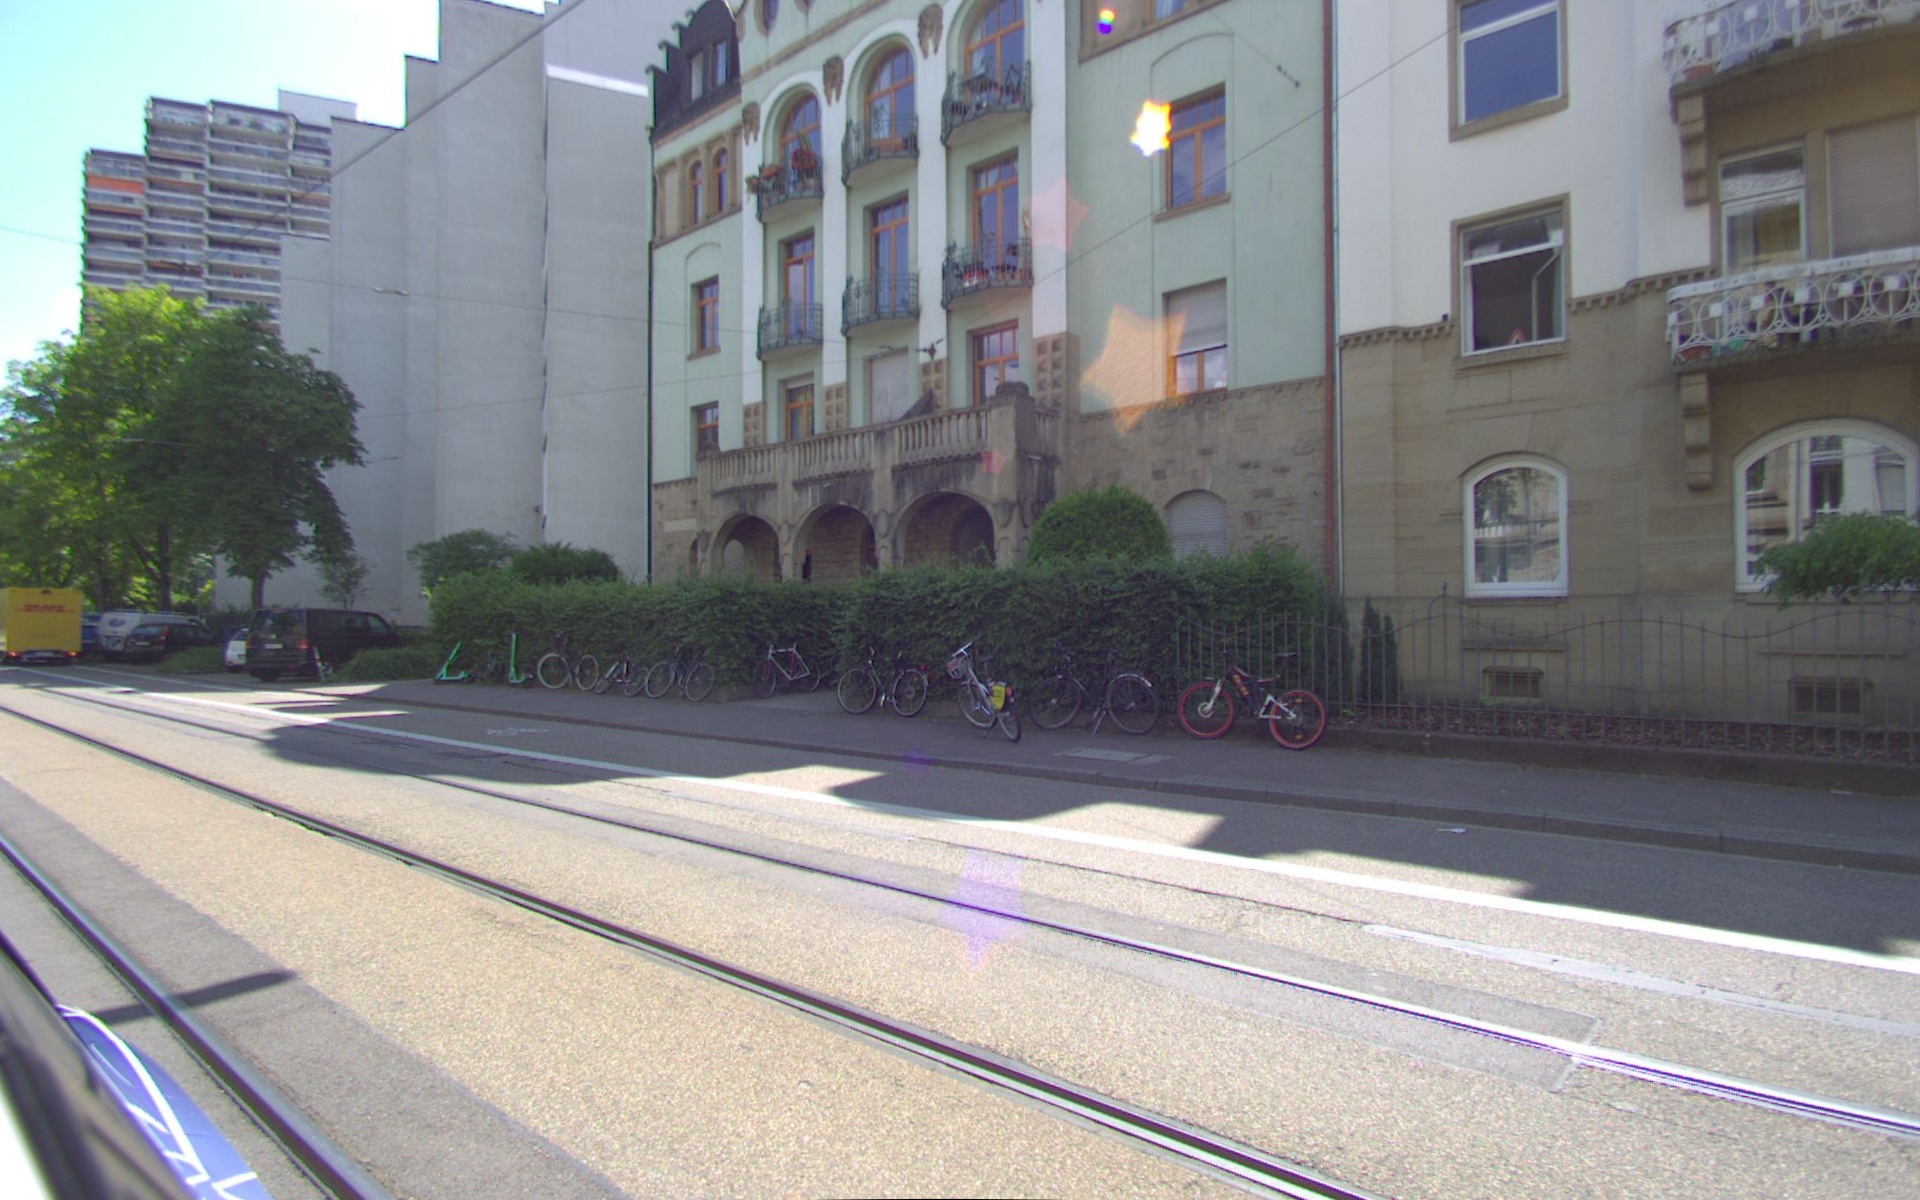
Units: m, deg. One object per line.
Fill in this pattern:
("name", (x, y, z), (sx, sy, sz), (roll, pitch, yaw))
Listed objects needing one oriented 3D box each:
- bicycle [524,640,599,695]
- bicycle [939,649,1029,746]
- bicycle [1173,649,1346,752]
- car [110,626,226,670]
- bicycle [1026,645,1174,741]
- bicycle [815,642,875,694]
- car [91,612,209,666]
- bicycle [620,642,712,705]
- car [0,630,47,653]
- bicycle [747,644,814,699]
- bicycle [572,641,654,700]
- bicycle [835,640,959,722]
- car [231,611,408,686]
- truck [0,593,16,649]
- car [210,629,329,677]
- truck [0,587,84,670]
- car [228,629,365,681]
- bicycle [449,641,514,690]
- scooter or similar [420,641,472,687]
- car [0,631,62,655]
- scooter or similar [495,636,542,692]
("bicycle", (-7.958, 1.332, 20.181), (1.706, 0.996, 0.601), (-2, 2, 40))
("bicycle", (0.248, 1.104, 11.936), (0.599, 1.007, 1.779), (0, -2, -14))
("bicycle", (3.153, 1.030, 10.767), (1.724, 0.973, 0.409), (-2, 1, 40))
("car", (-30.271, 1.786, 38.825), (1.658, 1.587, 3.686), (0, -1, -3))
("bicycle", (1.616, 1.059, 11.852), (1.706, 1.006, 0.459), (-2, 1, 40))
("bicycle", (-2.133, 1.247, 18.867), (0.339, 0.915, 1.192), (-2, -2, 42))
("car", (-32.846, 1.560, 41.176), (1.580, 2.058, 4.053), (0, -1, 0))
("bicycle", (-5.123, 1.256, 17.592), (1.770, 0.983, 0.601), (-2, 2, 40))
("car", (-60.523, 2.629, 64.470), (1.657, 1.465, 3.680), (0, -1, -6))
("bicycle", (-3.120, 1.230, 17.652), (0.339, 0.915, 1.192), (-2, -2, 42))
("bicycle", (-6.481, 1.297, 18.869), (1.706, 0.996, 0.601), (-2, 2, 40))
("bicycle", (-0.902, 1.110, 14.258), (1.770, 1.040, 0.601), (-2, 2, 40))
("car", (-17.783, 1.307, 28.414), (1.936, 1.940, 4.582), (0, -1, 3))
("truck", (-74.723, 1.641, 77.214), (2.633, 4.212, 10.496), (1, -2, -36))
("car", (-22.529, 1.705, 33.189), (1.700, 1.465, 3.632), (0, -1, -6))
("truck", (-35.682, 1.096, 38.816), (6.513, 2.943, 2.276), (-2, -2, 42))
("car", (-20.189, 1.646, 31.006), (1.659, 1.465, 3.945), (0, -1, -1))
("bicycle", (-10.579, 1.431, 22.361), (1.706, 0.996, 0.601), (-2, 2, 40))
("scooter or similar", (-11.884, 1.472, 23.392), (1.217, 1.028, 0.403), (-1, -2, 25))
("car", (-57.913, 2.649, 62.605), (1.657, 1.430, 3.680), (0, -1, -6))
("scooter or similar", (-9.256, 1.325, 21.189), (1.290, 1.128, 0.401), (-2, -2, 42))
